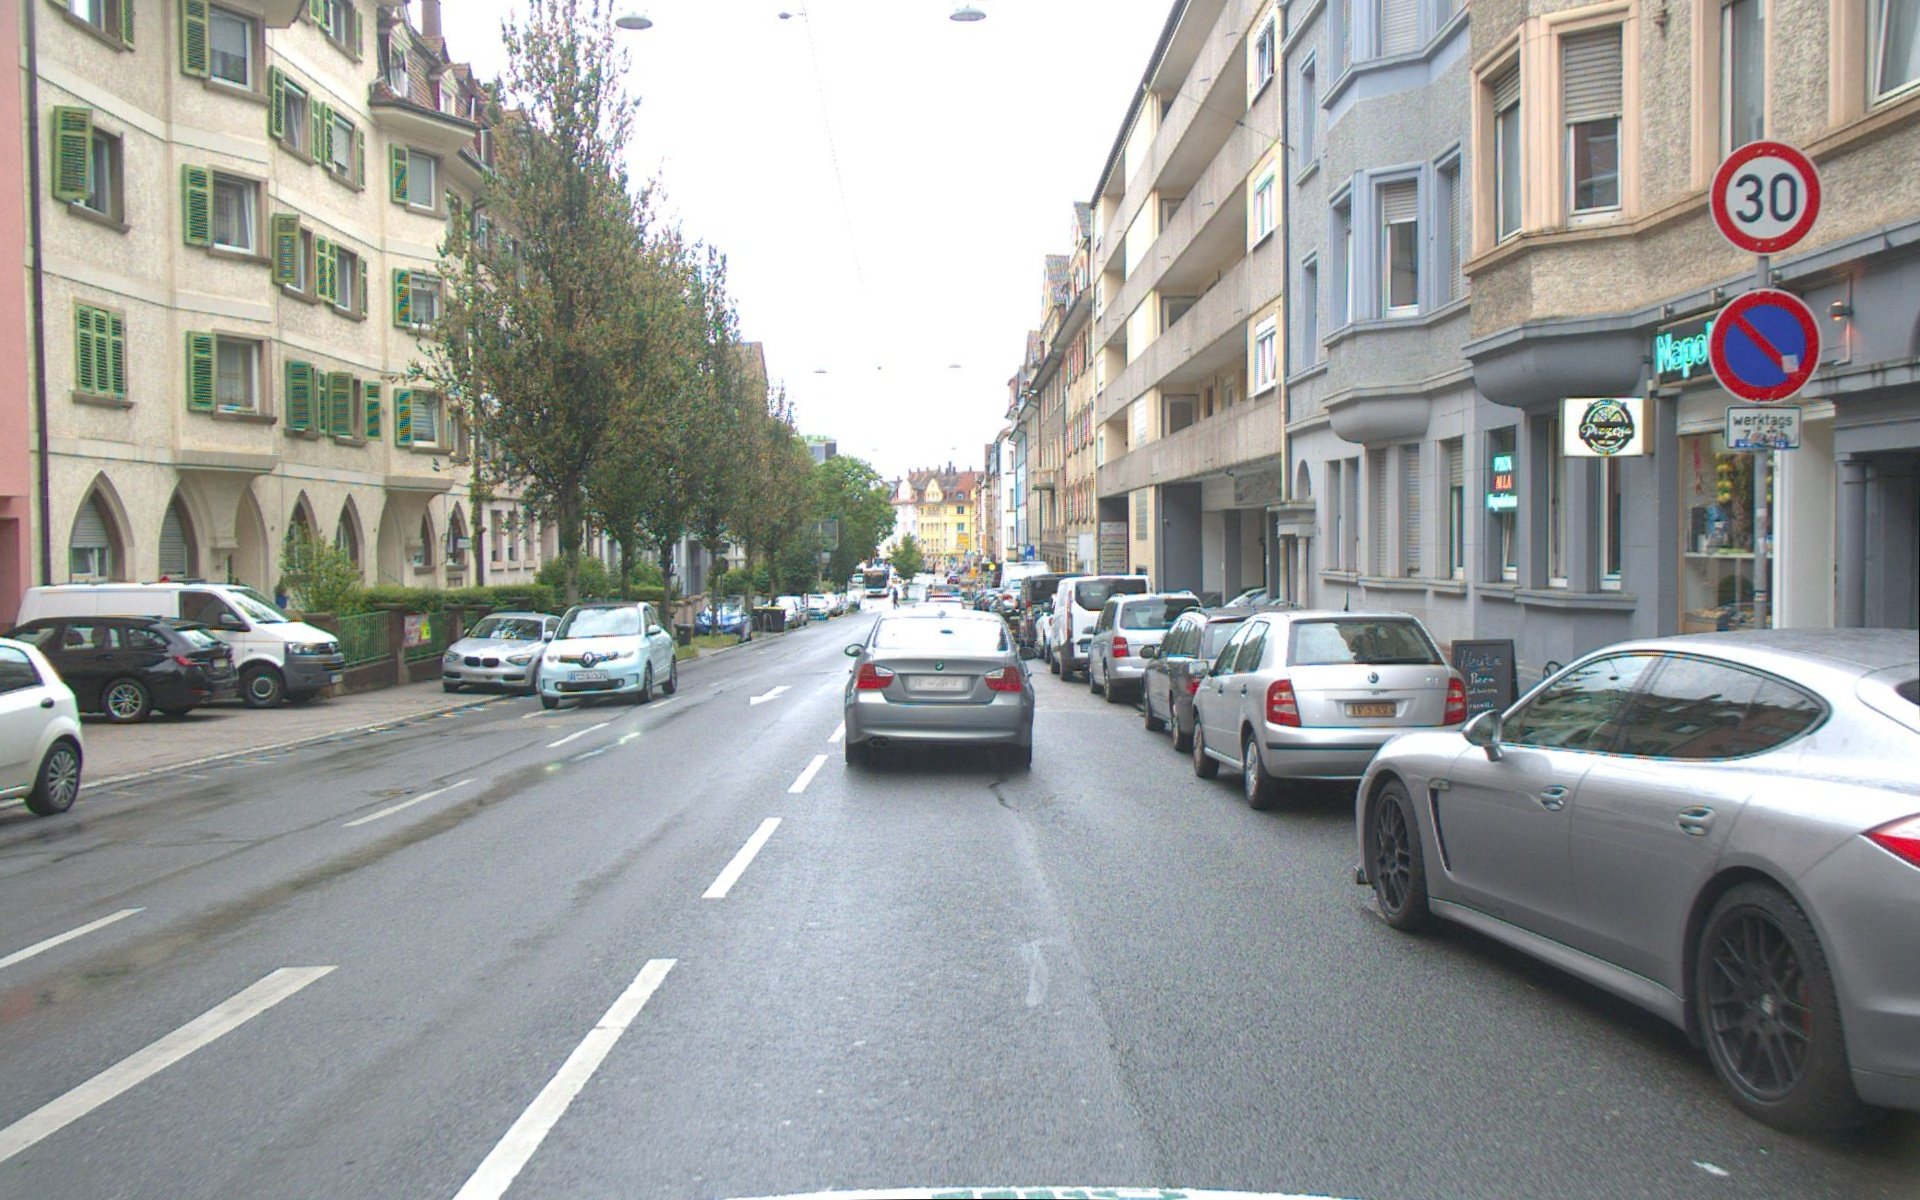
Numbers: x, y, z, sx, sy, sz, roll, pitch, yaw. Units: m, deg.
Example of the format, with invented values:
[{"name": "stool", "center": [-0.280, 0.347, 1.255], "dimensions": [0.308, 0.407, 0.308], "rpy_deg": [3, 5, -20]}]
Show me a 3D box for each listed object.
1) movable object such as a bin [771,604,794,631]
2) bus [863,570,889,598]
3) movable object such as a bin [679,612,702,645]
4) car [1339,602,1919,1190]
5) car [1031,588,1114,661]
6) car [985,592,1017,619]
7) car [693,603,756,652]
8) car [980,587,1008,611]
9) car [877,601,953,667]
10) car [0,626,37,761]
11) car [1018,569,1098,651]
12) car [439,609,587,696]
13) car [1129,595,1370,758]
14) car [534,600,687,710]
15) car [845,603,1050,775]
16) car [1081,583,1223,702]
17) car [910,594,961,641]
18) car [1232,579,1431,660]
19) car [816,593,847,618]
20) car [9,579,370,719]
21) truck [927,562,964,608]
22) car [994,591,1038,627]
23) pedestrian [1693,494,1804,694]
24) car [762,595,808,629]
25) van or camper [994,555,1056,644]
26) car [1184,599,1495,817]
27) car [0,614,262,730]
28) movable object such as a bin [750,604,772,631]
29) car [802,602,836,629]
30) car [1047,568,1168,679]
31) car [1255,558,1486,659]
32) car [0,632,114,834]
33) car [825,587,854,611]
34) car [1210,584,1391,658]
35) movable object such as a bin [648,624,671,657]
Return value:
[{"name": "movable object such as a bin", "center": [-7.959, 0.772, 74.145], "dimensions": [0.916, 1.189, 0.909], "rpy_deg": [0, 0, -1]}, {"name": "bus", "center": [-9.564, -1.789, 189.354], "dimensions": [2.614, 3.077, 7.669], "rpy_deg": [-2, 0, -1]}, {"name": "movable object such as a bin", "center": [-7.808, 0.822, 47.906], "dimensions": [0.565, 0.928, 0.638], "rpy_deg": [-2, 0, -15]}, {"name": "car", "center": [3.142, 0.767, 6.250], "dimensions": [1.839, 1.493, 4.768], "rpy_deg": [1, 0, -7]}, {"name": "car", "center": [2.792, 0.589, 41.783], "dimensions": [1.691, 1.699, 4.288], "rpy_deg": [-2, 0, -1]}, {"name": "car", "center": [2.397, 0.324, 96.943], "dimensions": [1.663, 1.509, 3.974], "rpy_deg": [1, 0, -1]}, {"name": "car", "center": [-8.529, 0.979, 60.174], "dimensions": [1.731, 1.621, 3.999], "rpy_deg": [-3, 0, -2]}, {"name": "car", "center": [2.176, -0.068, 106.757], "dimensions": [1.663, 1.509, 3.974], "rpy_deg": [1, 0, -1]}, {"name": "car", "center": [-1.020, 0.773, 39.011], "dimensions": [1.647, 1.453, 3.741], "rpy_deg": [1, 0, 0]}, {"name": "car", "center": [-12.531, 1.107, 18.089], "dimensions": [3.809, 1.483, 1.789], "rpy_deg": [-2, 0, -8]}, {"name": "car", "center": [2.810, 0.271, 48.355], "dimensions": [1.941, 2.203, 4.749], "rpy_deg": [-2, 0, -1]}, {"name": "car", "center": [-8.447, 0.955, 31.603], "dimensions": [1.691, 1.510, 3.989], "rpy_deg": [1, 0, 0]}, {"name": "car", "center": [3.132, 0.759, 18.918], "dimensions": [1.861, 1.504, 4.798], "rpy_deg": [-4, 0, 0]}, {"name": "car", "center": [-5.504, 0.816, 26.442], "dimensions": [1.603, 1.534, 3.754], "rpy_deg": [-4, 0, -1]}, {"name": "car", "center": [-0.117, 0.768, 15.979], "dimensions": [1.733, 1.453, 3.740], "rpy_deg": [1, 0, -1]}, {"name": "car", "center": [3.036, 0.633, 26.935], "dimensions": [1.691, 1.699, 4.288], "rpy_deg": [-3, 0, -1]}, {"name": "car", "center": [-0.845, 0.580, 55.821], "dimensions": [1.663, 1.509, 3.792], "rpy_deg": [1, 0, -1]}, {"name": "car", "center": [8.228, 0.425, 36.806], "dimensions": [4.195, 1.669, 1.668], "rpy_deg": [-1, 2, 12]}, {"name": "car", "center": [-8.438, 0.359, 109.183], "dimensions": [1.656, 1.550, 3.736], "rpy_deg": [-3, 0, 0]}, {"name": "car", "center": [-12.175, 0.744, 26.373], "dimensions": [4.731, 2.008, 2.047], "rpy_deg": [-2, 0, -1]}, {"name": "truck", "center": [-0.833, -0.809, 91.744], "dimensions": [1.991, 2.455, 4.825], "rpy_deg": [1, 0, -1]}, {"name": "car", "center": [2.439, 0.402, 72.856], "dimensions": [1.663, 1.509, 3.974], "rpy_deg": [1, 0, -1]}, {"name": "pedestrian", "center": [6.680, -0.050, 14.022], "dimensions": [0.479, 1.648, 0.660], "rpy_deg": [-2, 0, -31]}, {"name": "car", "center": [-8.626, 0.554, 81.778], "dimensions": [1.790, 1.550, 3.736], "rpy_deg": [-3, 0, 0]}, {"name": "van or camper", "center": [2.364, -0.033, 58.961], "dimensions": [1.991, 2.919, 6.888], "rpy_deg": [2, 0, 3]}, {"name": "car", "center": [2.924, 0.754, 13.555], "dimensions": [1.578, 1.500, 4.015], "rpy_deg": [0, 0, -1]}, {"name": "car", "center": [-12.448, 1.000, 23.381], "dimensions": [4.343, 1.477, 1.791], "rpy_deg": [-2, 0, -3]}, {"name": "movable object such as a bin", "center": [-8.901, 0.774, 74.129], "dimensions": [0.883, 1.189, 0.895], "rpy_deg": [0, 0, -1]}, {"name": "car", "center": [-8.699, 0.954, 102.068], "dimensions": [1.656, 1.550, 3.736], "rpy_deg": [-3, 0, 0]}, {"name": "car", "center": [2.911, 0.436, 33.678], "dimensions": [1.941, 2.042, 4.624], "rpy_deg": [-2, 0, -1]}, {"name": "car", "center": [8.023, 0.155, 32.286], "dimensions": [4.234, 1.836, 2.008], "rpy_deg": [-1, 2, 17]}, {"name": "car", "center": [-7.975, 1.029, 11.983], "dimensions": [1.588, 1.471, 4.005], "rpy_deg": [-1, 0, 0]}, {"name": "car", "center": [-8.236, -0.091, 113.205], "dimensions": [1.656, 1.550, 3.736], "rpy_deg": [-3, 0, 0]}, {"name": "car", "center": [8.264, 0.510, 40.217], "dimensions": [4.195, 1.669, 1.668], "rpy_deg": [-1, 2, 12]}, {"name": "movable object such as a bin", "center": [-8.679, 1.172, 47.743], "dimensions": [0.565, 0.928, 0.638], "rpy_deg": [-2, 0, -15]}]
